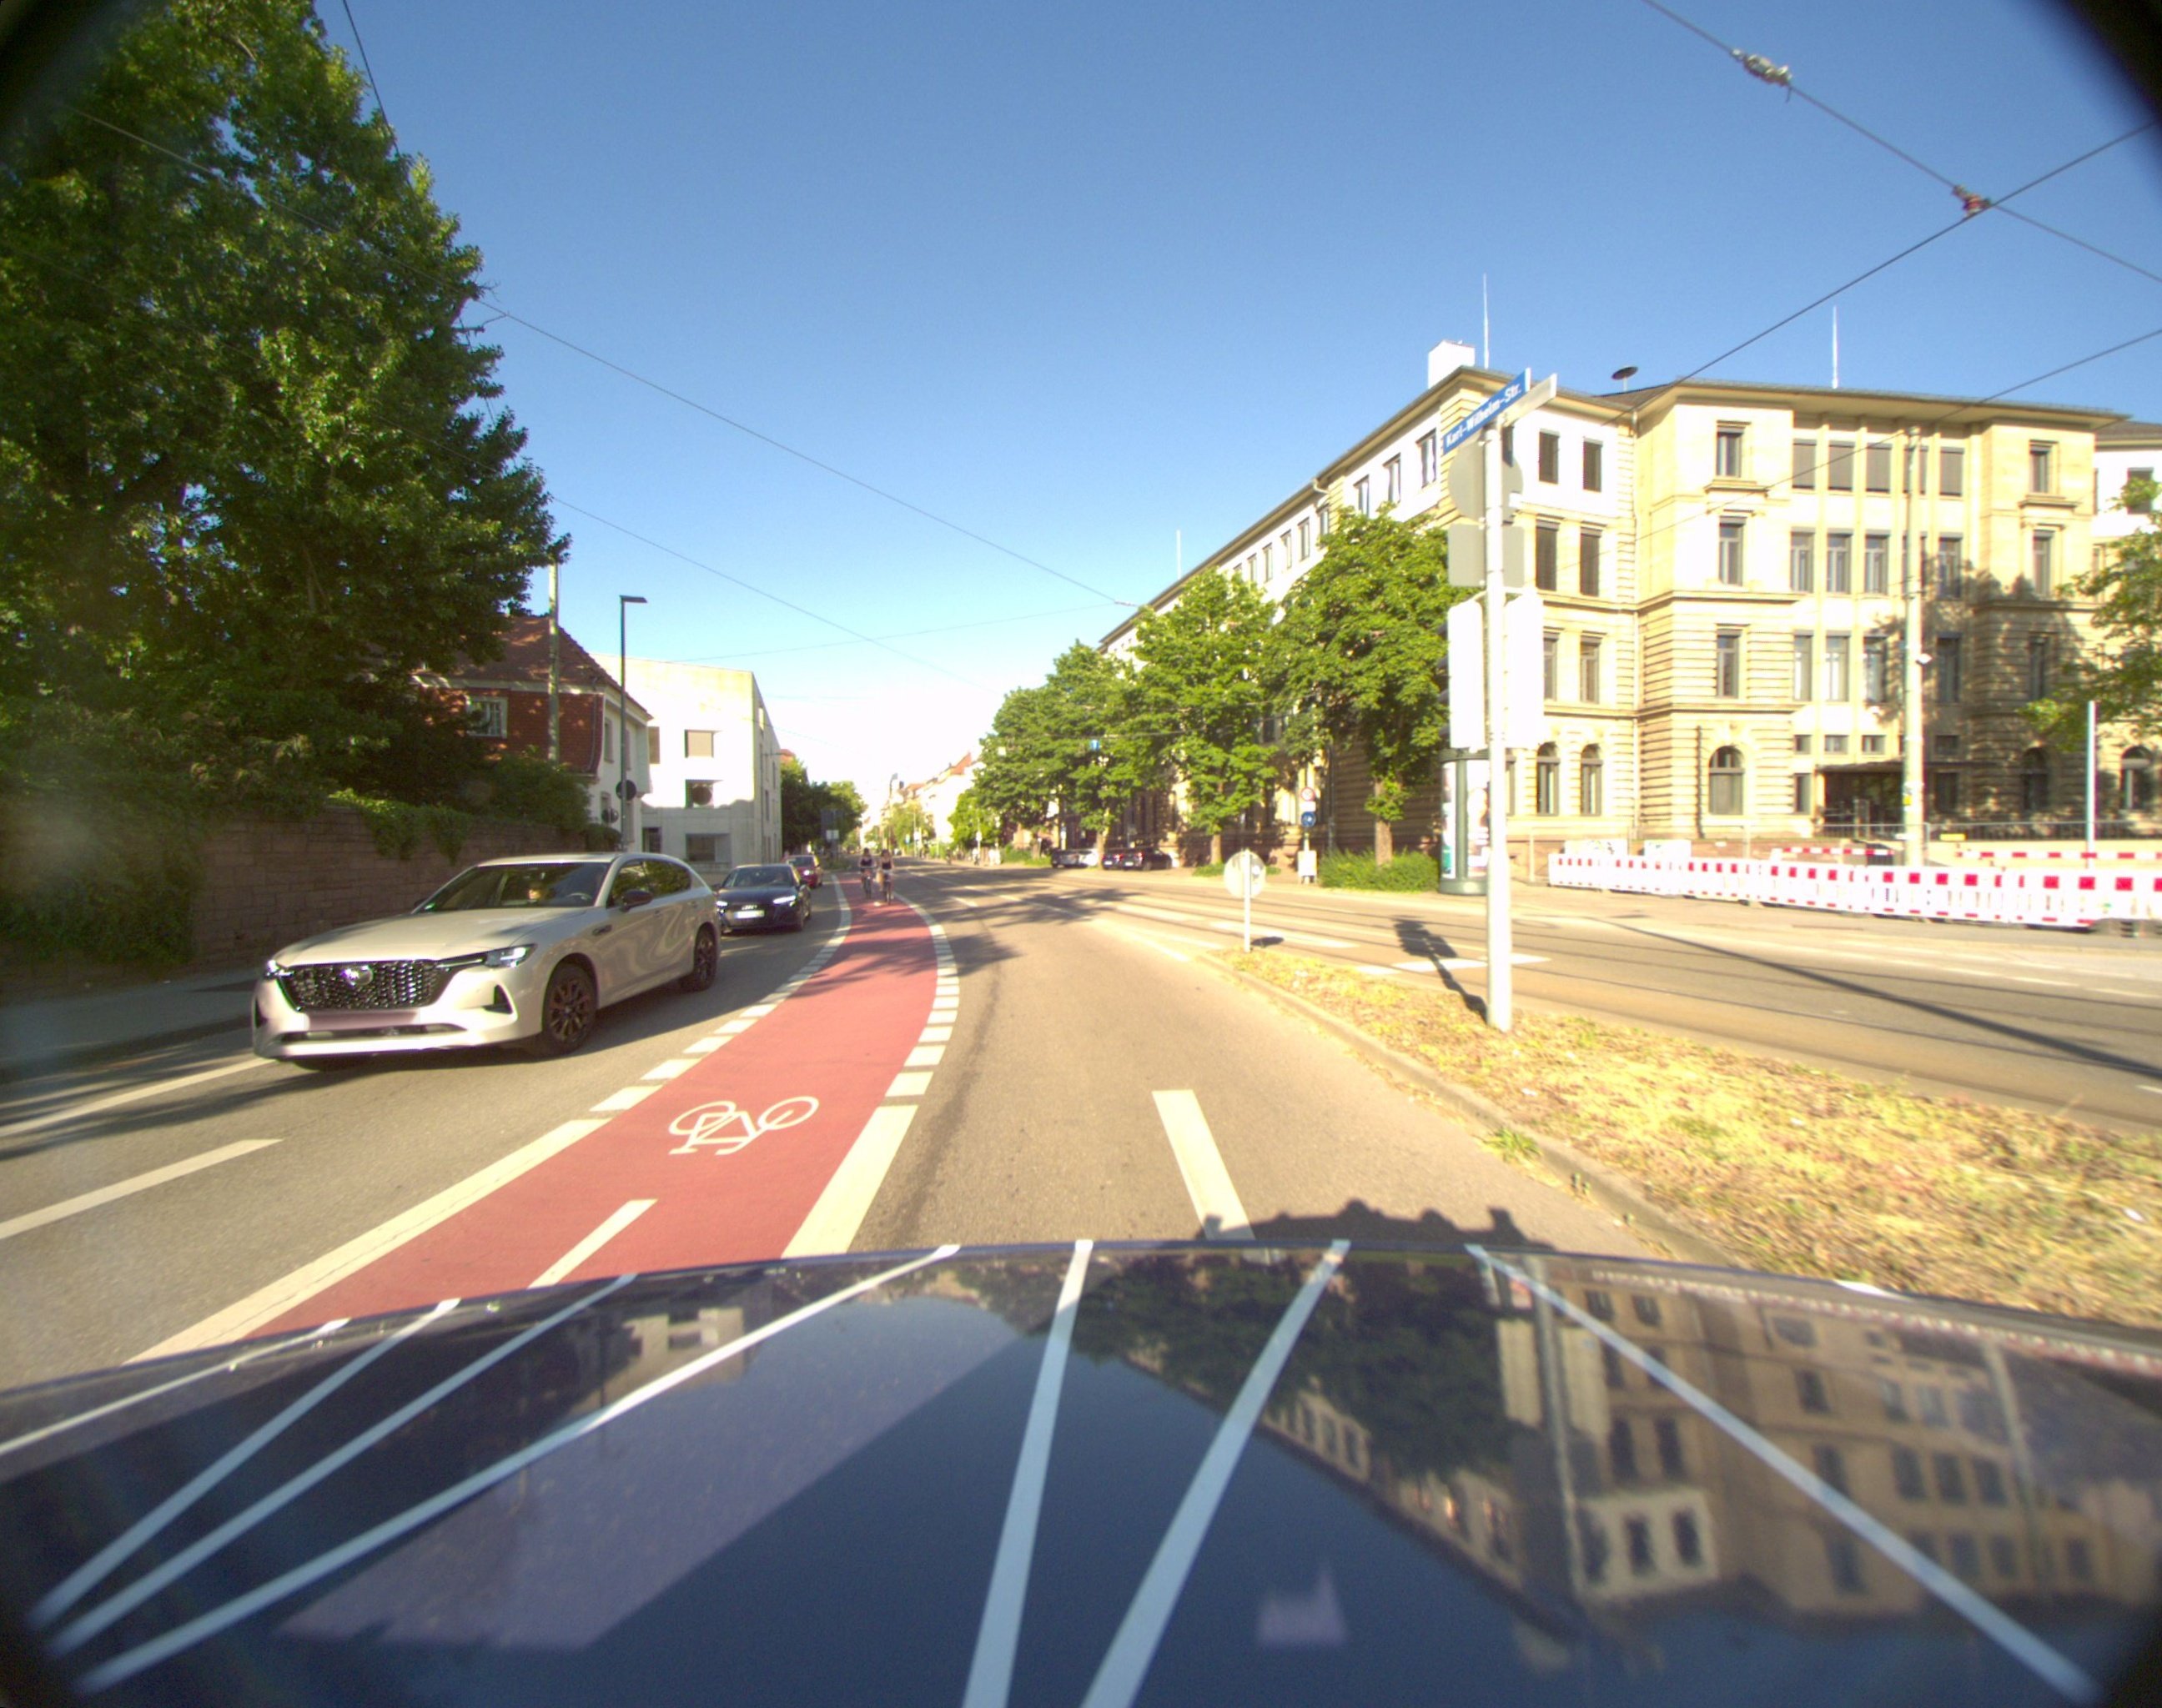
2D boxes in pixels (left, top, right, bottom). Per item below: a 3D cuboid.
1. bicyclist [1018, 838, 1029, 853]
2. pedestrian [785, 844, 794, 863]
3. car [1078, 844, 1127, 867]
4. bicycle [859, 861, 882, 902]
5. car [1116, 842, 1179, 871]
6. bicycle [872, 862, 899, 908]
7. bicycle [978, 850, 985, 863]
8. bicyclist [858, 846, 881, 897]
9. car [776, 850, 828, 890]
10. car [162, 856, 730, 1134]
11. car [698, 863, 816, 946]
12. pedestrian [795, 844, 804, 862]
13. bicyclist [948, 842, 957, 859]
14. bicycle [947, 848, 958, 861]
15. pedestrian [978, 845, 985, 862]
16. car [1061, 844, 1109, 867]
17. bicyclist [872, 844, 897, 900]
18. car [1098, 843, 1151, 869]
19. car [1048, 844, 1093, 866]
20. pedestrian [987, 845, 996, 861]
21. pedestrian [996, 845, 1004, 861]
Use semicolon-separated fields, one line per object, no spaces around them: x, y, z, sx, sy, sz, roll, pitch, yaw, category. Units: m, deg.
-6.397;-0.952;84.343;1.030;1.638;0.674;-1;1;-20;bicyclist
-25.925;-0.055;67.566;0.676;1.638;0.816;-2;1;-17;pedestrian
1.617;0.088;56.406;1.645;1.552;3.657;-1;2;39;car
-7.012;0.886;25.217;0.677;1.243;2.453;-1;1;-16;bicycle
4.274;0.119;48.330;1.841;1.621;4.189;-1;2;39;car
-5.828;0.886;22.581;0.677;1.243;2.453;-1;1;-16;bicycle
-9.626;0.225;73.452;0.676;1.243;2.455;-1;1;-8;bicycle
-7.008;0.552;25.171;0.676;1.638;1.027;-1;1;-16;bicyclist
-12.157;0.664;33.248;1.651;1.552;3.645;-3;1;-14;car
-5.277;0.941;7.382;1.946;1.683;4.528;-3;1;-6;car
-6.907;0.981;16.610;1.790;1.425;3.994;-3;1;-16;car
-25.151;-0.089;67.888;0.676;1.638;0.816;-2;1;-17;pedestrian
-12.192;-0.314;72.064;0.676;1.638;1.027;-1;1;-16;bicyclist
-12.190;0.014;72.052;0.677;1.243;2.453;-1;1;-16;bicycle
-9.633;-0.085;73.448;0.675;1.638;0.817;-1;1;-8;pedestrian
0.334;0.089;58.475;1.645;1.552;3.657;-1;2;39;car
-5.843;0.519;22.593;0.676;1.638;1.027;-1;1;-16;bicyclist
2.945;0.102;50.826;1.645;1.552;3.657;-1;2;39;car
-0.816;0.056;61.754;1.645;1.552;3.657;-1;2;39;car
-9.042;-0.081;76.919;0.676;1.638;0.816;-2;1;-17;pedestrian
-8.231;-0.106;77.214;0.676;1.638;0.816;-2;1;-17;pedestrian
